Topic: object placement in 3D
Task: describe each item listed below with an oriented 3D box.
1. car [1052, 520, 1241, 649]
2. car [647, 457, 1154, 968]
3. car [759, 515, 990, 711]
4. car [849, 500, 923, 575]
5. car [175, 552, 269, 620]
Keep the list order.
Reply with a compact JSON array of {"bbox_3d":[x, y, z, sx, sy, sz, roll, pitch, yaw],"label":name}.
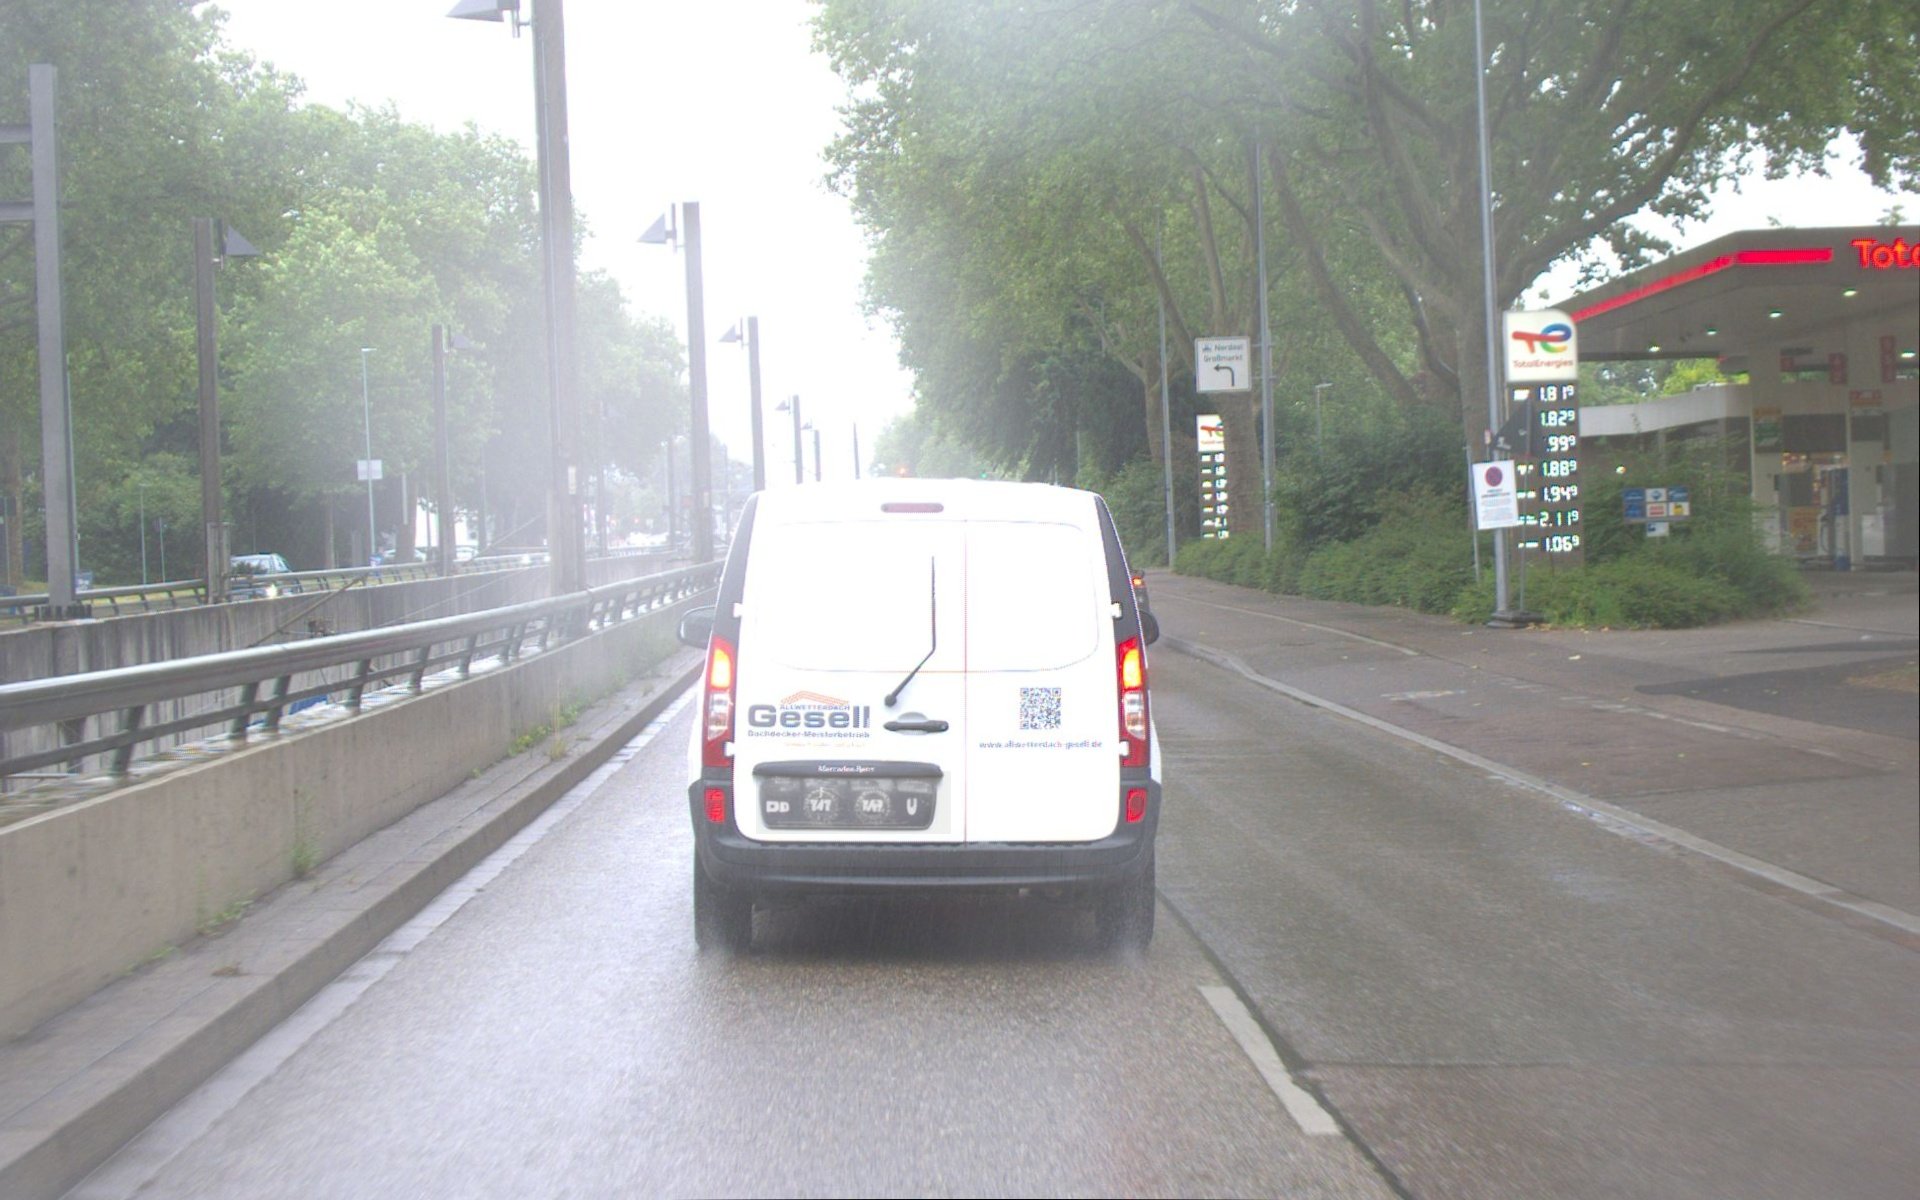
[{"bbox_3d":[2.453,-0.216,46.267,1.993,1.579,4.001,-3,1,-4],"label":"car"},{"bbox_3d":[-0.307,0.374,14.149,1.755,1.771,4.001,1,1,-3],"label":"car"},{"bbox_3d":[-0.787,0.088,31.450,1.917,1.603,4.000,-2,1,-2],"label":"car"},{"bbox_3d":[-2.174,-1.841,101.767,2.048,2.133,4.000,-2,1,0],"label":"car"},{"bbox_3d":[-18.396,-0.366,85.799,1.907,1.565,4.001,-2,1,-7],"label":"car"}]
